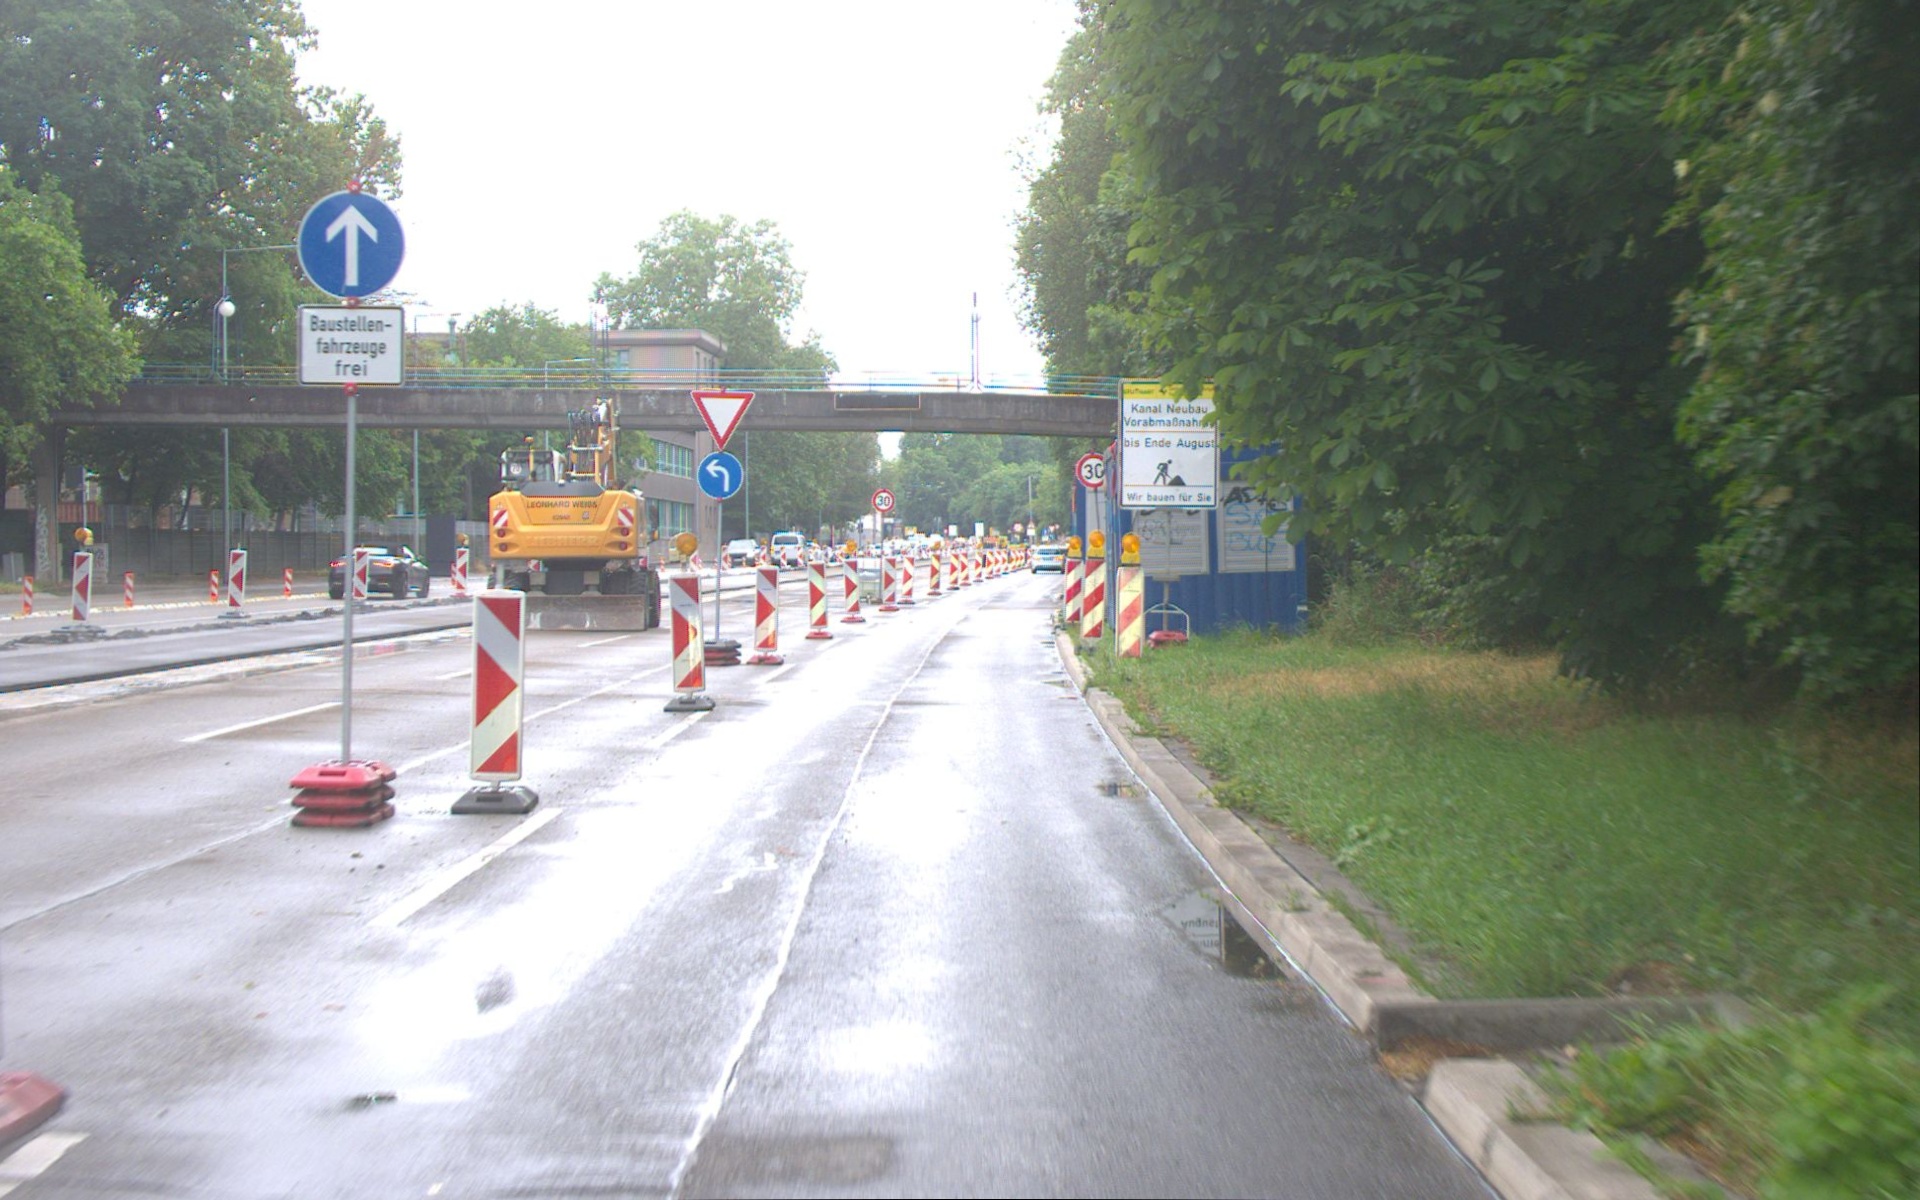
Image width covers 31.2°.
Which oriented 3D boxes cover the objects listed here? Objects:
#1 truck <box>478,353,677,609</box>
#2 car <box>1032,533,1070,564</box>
[{"bbox_3d":[-6.887,-2.120,63.273,2.897,4.244,10.757,1,1,-3],"label":"truck"},{"bbox_3d":[4.863,-2.734,183.235,1.993,1.634,4.000,0,1,2],"label":"car"}]
